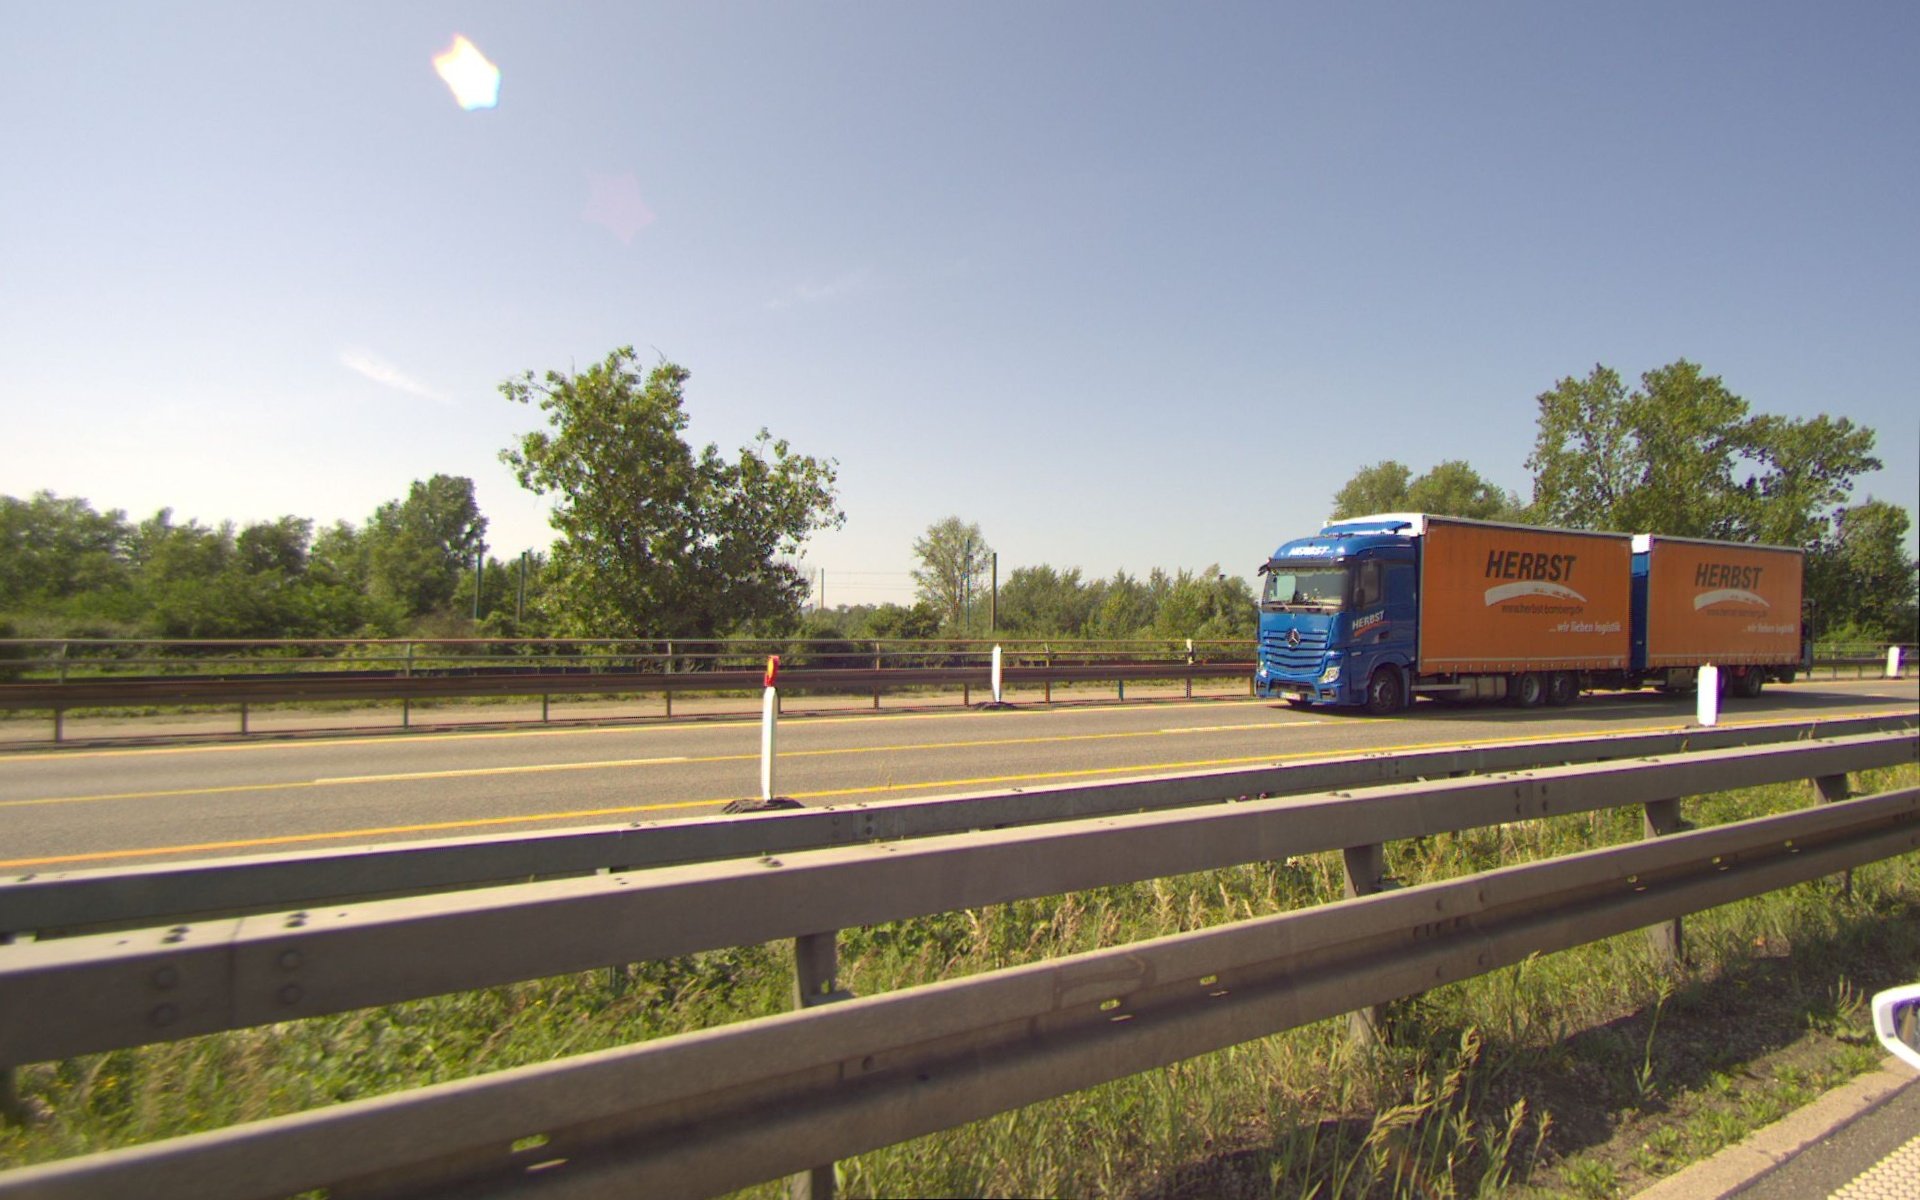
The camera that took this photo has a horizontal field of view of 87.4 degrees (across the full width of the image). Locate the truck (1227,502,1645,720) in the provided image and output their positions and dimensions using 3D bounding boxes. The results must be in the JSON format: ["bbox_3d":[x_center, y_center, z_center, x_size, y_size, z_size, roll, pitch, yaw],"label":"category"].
[{"bbox_3d":[11.125,0.271,22.958,10.491,4.146,3.025,1,0,-28],"label":"truck"}]

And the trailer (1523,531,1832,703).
[{"bbox_3d":[20.010,0.460,27.819,9.666,4.146,3.025,1,0,-28],"label":"trailer"}]
